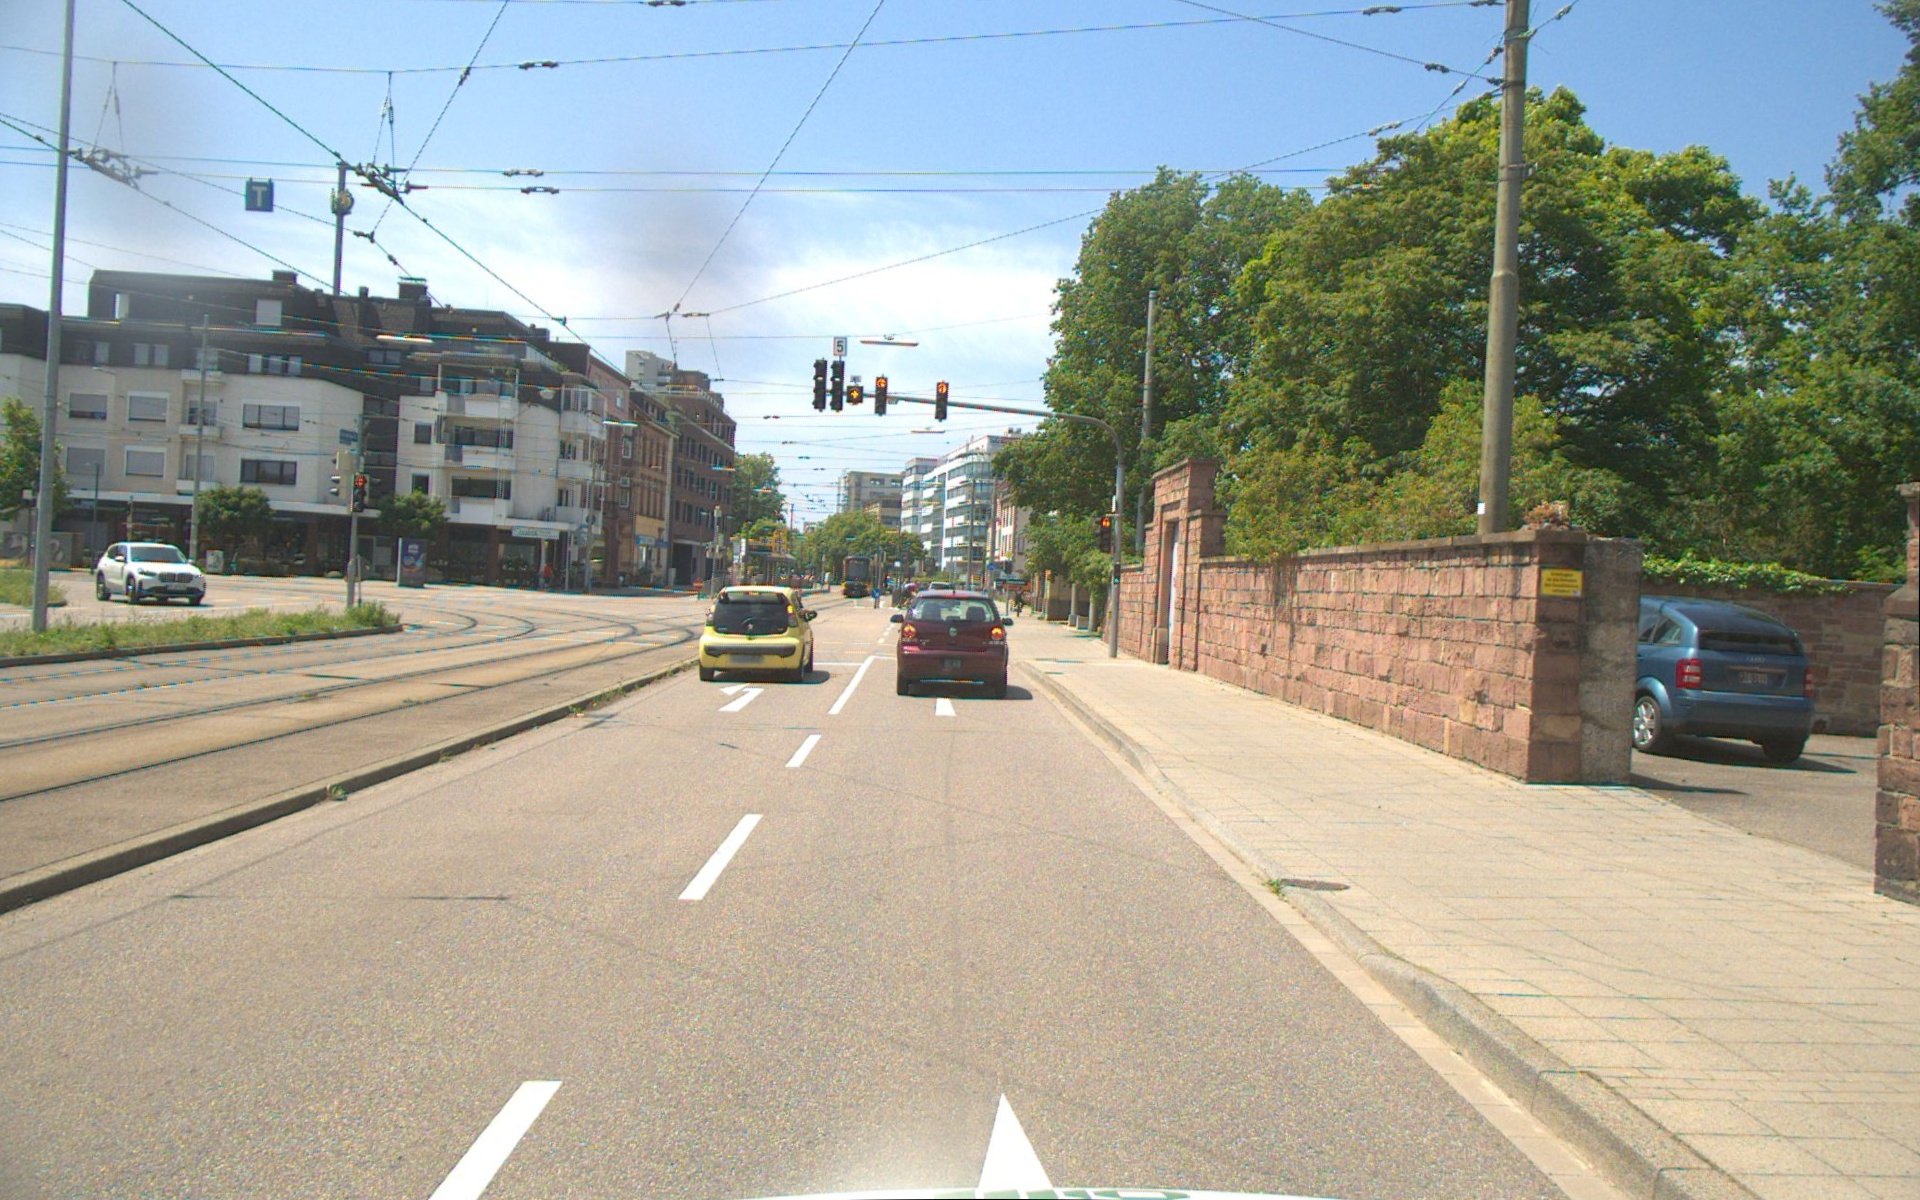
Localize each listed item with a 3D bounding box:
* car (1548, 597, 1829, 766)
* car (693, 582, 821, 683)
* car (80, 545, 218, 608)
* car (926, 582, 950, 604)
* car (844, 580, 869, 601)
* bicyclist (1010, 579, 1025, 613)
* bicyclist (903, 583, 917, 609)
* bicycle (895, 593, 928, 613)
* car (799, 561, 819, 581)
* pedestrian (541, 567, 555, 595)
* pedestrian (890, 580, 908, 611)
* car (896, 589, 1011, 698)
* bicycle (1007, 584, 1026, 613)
[{"bbox_3d":[7.482,0.774,17.257,1.451,1.508,2.943,3,0,-3],"label":"car"},{"bbox_3d":[-3.179,0.472,26.402,1.688,1.470,3.292,1,1,-1],"label":"car"},{"bbox_3d":[-22.423,-0.642,45.676,4.484,1.638,1.720,1,0,40],"label":"car"},{"bbox_3d":[-1.477,-0.495,111.006,1.540,1.440,3.719,0,0,-1],"label":"car"},{"bbox_3d":[-8.616,-0.780,138.382,1.899,1.670,3.999,1,0,-1],"label":"car"},{"bbox_3d":[3.121,-0.223,90.038,0.707,1.850,0.888,1,-1,-1],"label":"bicyclist"},{"bbox_3d":[-2.786,-0.237,92.686,0.751,1.430,0.506,1,-1,-5],"label":"bicyclist"},{"bbox_3d":[-2.716,0.167,92.683,1.829,1.025,0.578,1,-1,-5],"label":"bicycle"},{"bbox_3d":[-15.974,-3.046,175.559,1.700,2.048,4.000,2,0,-1],"label":"car"},{"bbox_3d":[-23.160,-1.087,93.041,0.475,1.568,0.536,1,-1,34],"label":"pedestrian"},{"bbox_3d":[-3.500,-0.267,94.831,0.962,1.690,0.918,2,0,-4],"label":"pedestrian"},{"bbox_3d":[-0.130,0.584,24.735,1.577,1.489,4.084,0,0,-1],"label":"car"},{"bbox_3d":[3.119,-0.058,91.232,0.818,1.552,3.999,1,0,-1],"label":"bicycle"}]
